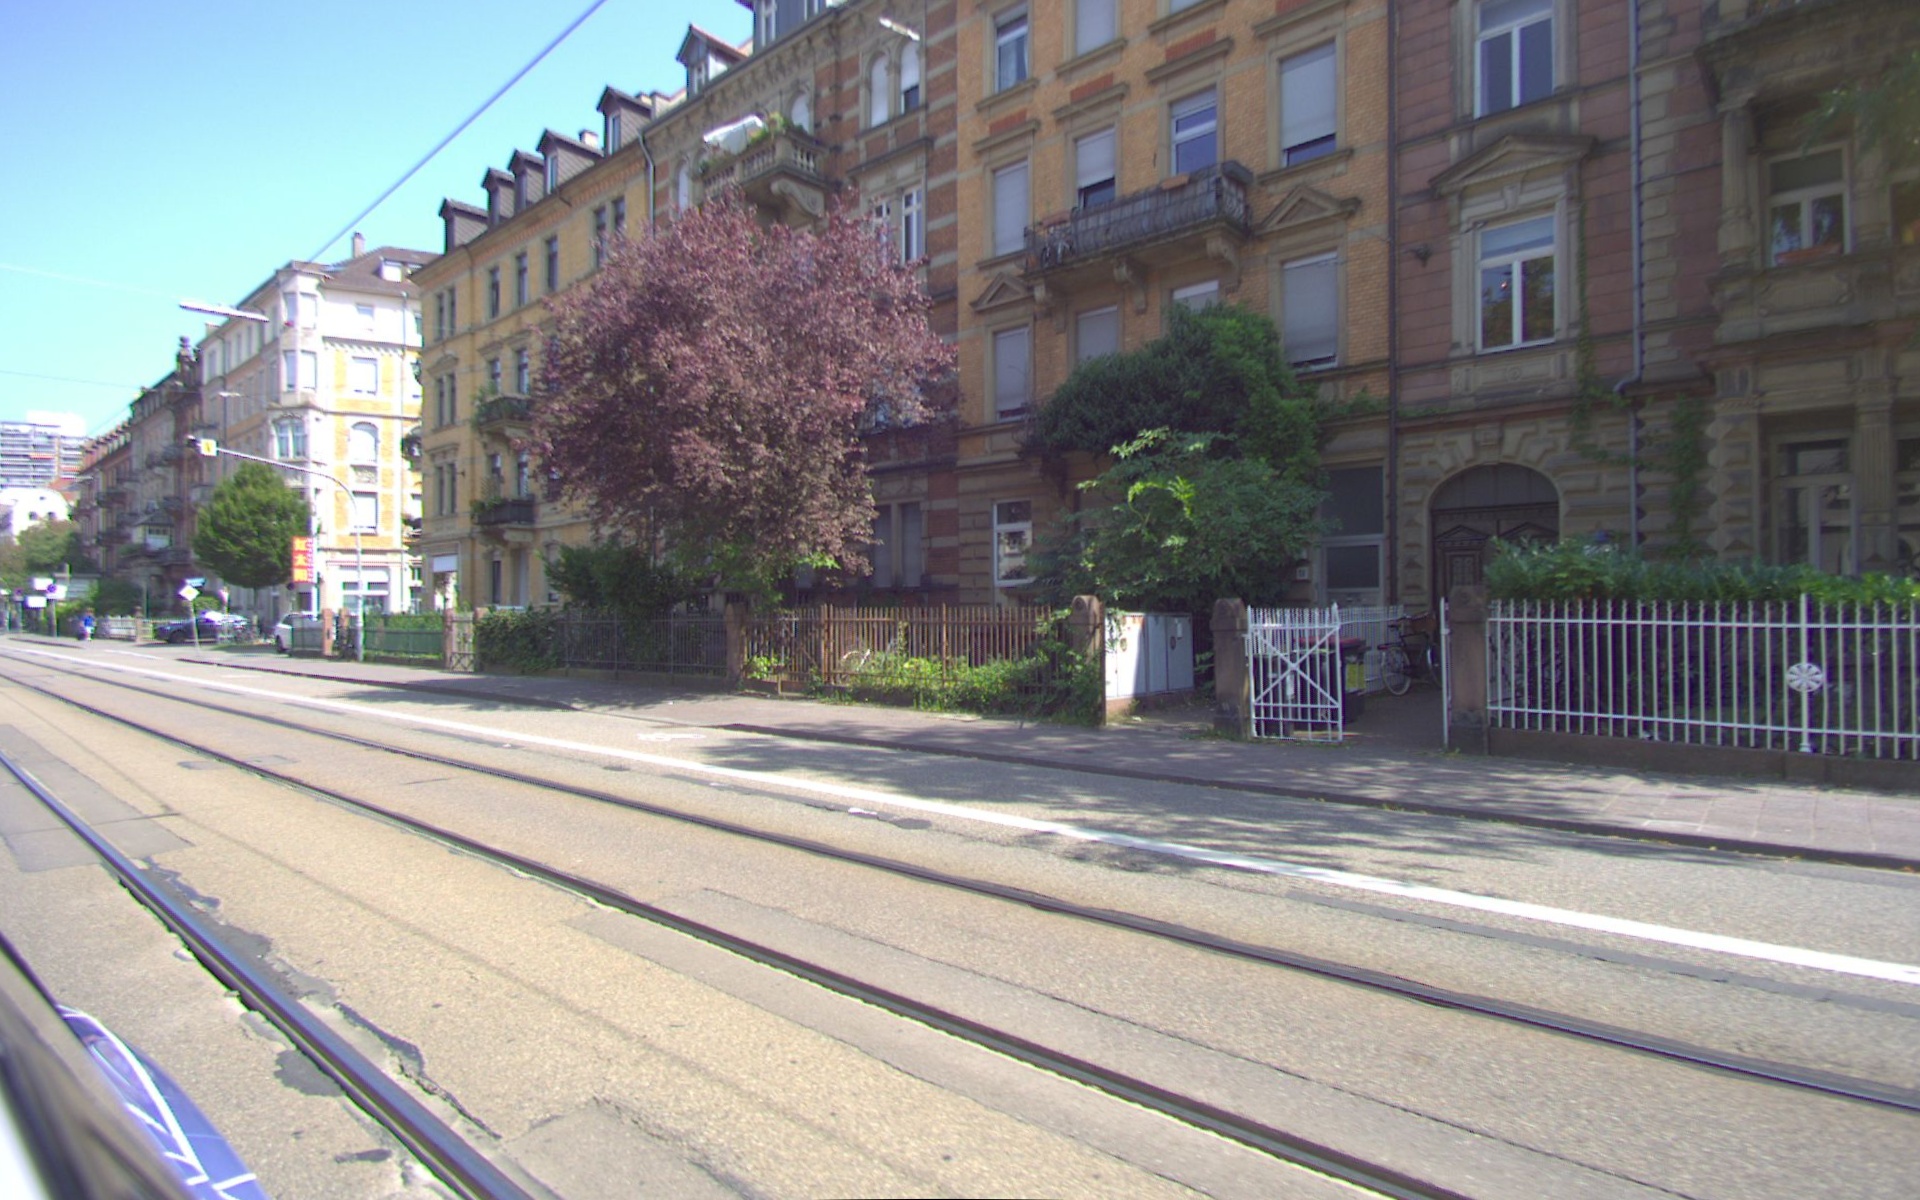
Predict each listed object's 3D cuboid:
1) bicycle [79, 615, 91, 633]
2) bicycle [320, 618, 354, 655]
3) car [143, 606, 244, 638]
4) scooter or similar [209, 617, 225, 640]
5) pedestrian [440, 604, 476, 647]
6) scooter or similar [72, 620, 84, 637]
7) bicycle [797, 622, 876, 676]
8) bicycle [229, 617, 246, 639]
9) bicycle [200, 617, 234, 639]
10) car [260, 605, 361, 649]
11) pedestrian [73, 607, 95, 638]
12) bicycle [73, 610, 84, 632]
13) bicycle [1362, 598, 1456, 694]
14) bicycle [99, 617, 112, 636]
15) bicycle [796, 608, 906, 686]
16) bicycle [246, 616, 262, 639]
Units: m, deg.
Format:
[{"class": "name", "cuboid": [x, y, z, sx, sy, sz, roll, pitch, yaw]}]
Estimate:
[{"class": "bicycle", "cuboid": [-54.725, 1.497, 63.309, 1.582, 1.156, 0.386, -1, -1, 43]}, {"class": "bicycle", "cuboid": [-19.077, 1.108, 30.976, 1.567, 1.107, 0.386, -1, -1, 40]}, {"class": "car", "cuboid": [-40.797, 1.160, 53.940, 1.879, 1.606, 4.056, -1, 0, 43]}, {"class": "scooter or similar", "cuboid": [-36.539, 1.409, 49.773, 0.588, 1.107, 1.392, 0, -1, -38]}, {"class": "pedestrian", "cuboid": [-18.144, 0.913, 36.573, 0.884, 1.522, 0.860, -1, -1, 33]}, {"class": "scooter or similar", "cuboid": [-51.605, 1.656, 59.236, 0.583, 0.990, 0.397, -1, 0, 34]}, {"class": "bicycle", "cuboid": [-2.294, 0.890, 19.004, 0.711, 0.918, 1.806, -1, 0, 21]}, {"class": "bicycle", "cuboid": [-35.946, 1.394, 50.373, 0.384, 1.107, 1.456, 0, -1, -23]}, {"class": "bicycle", "cuboid": [-37.347, 1.407, 50.881, 0.387, 1.107, 1.442, -1, -1, 19]}, {"class": "car", "cuboid": [-24.917, 1.009, 38.785, 4.354, 1.606, 1.974, -1, -1, 38]}, {"class": "pedestrian", "cuboid": [-51.177, 1.304, 59.119, 0.870, 1.769, 0.874, -1, -2, 42]}, {"class": "bicycle", "cuboid": [-57.410, 1.361, 65.906, 1.582, 1.416, 0.386, -1, -1, 43]}, {"class": "bicycle", "cuboid": [6.549, 0.627, 14.730, 0.716, 1.302, 1.793, -1, 0, 42]}, {"class": "bicycle", "cuboid": [-50.144, 1.551, 59.377, 1.833, 1.046, 0.386, -1, -1, 43]}, {"class": "bicycle", "cuboid": [-1.796, 0.747, 16.877, 0.717, 1.191, 1.792, 0, 0, 44]}, {"class": "bicycle", "cuboid": [-35.270, 1.365, 50.574, 0.384, 1.107, 1.456, 0, -1, -23]}]
